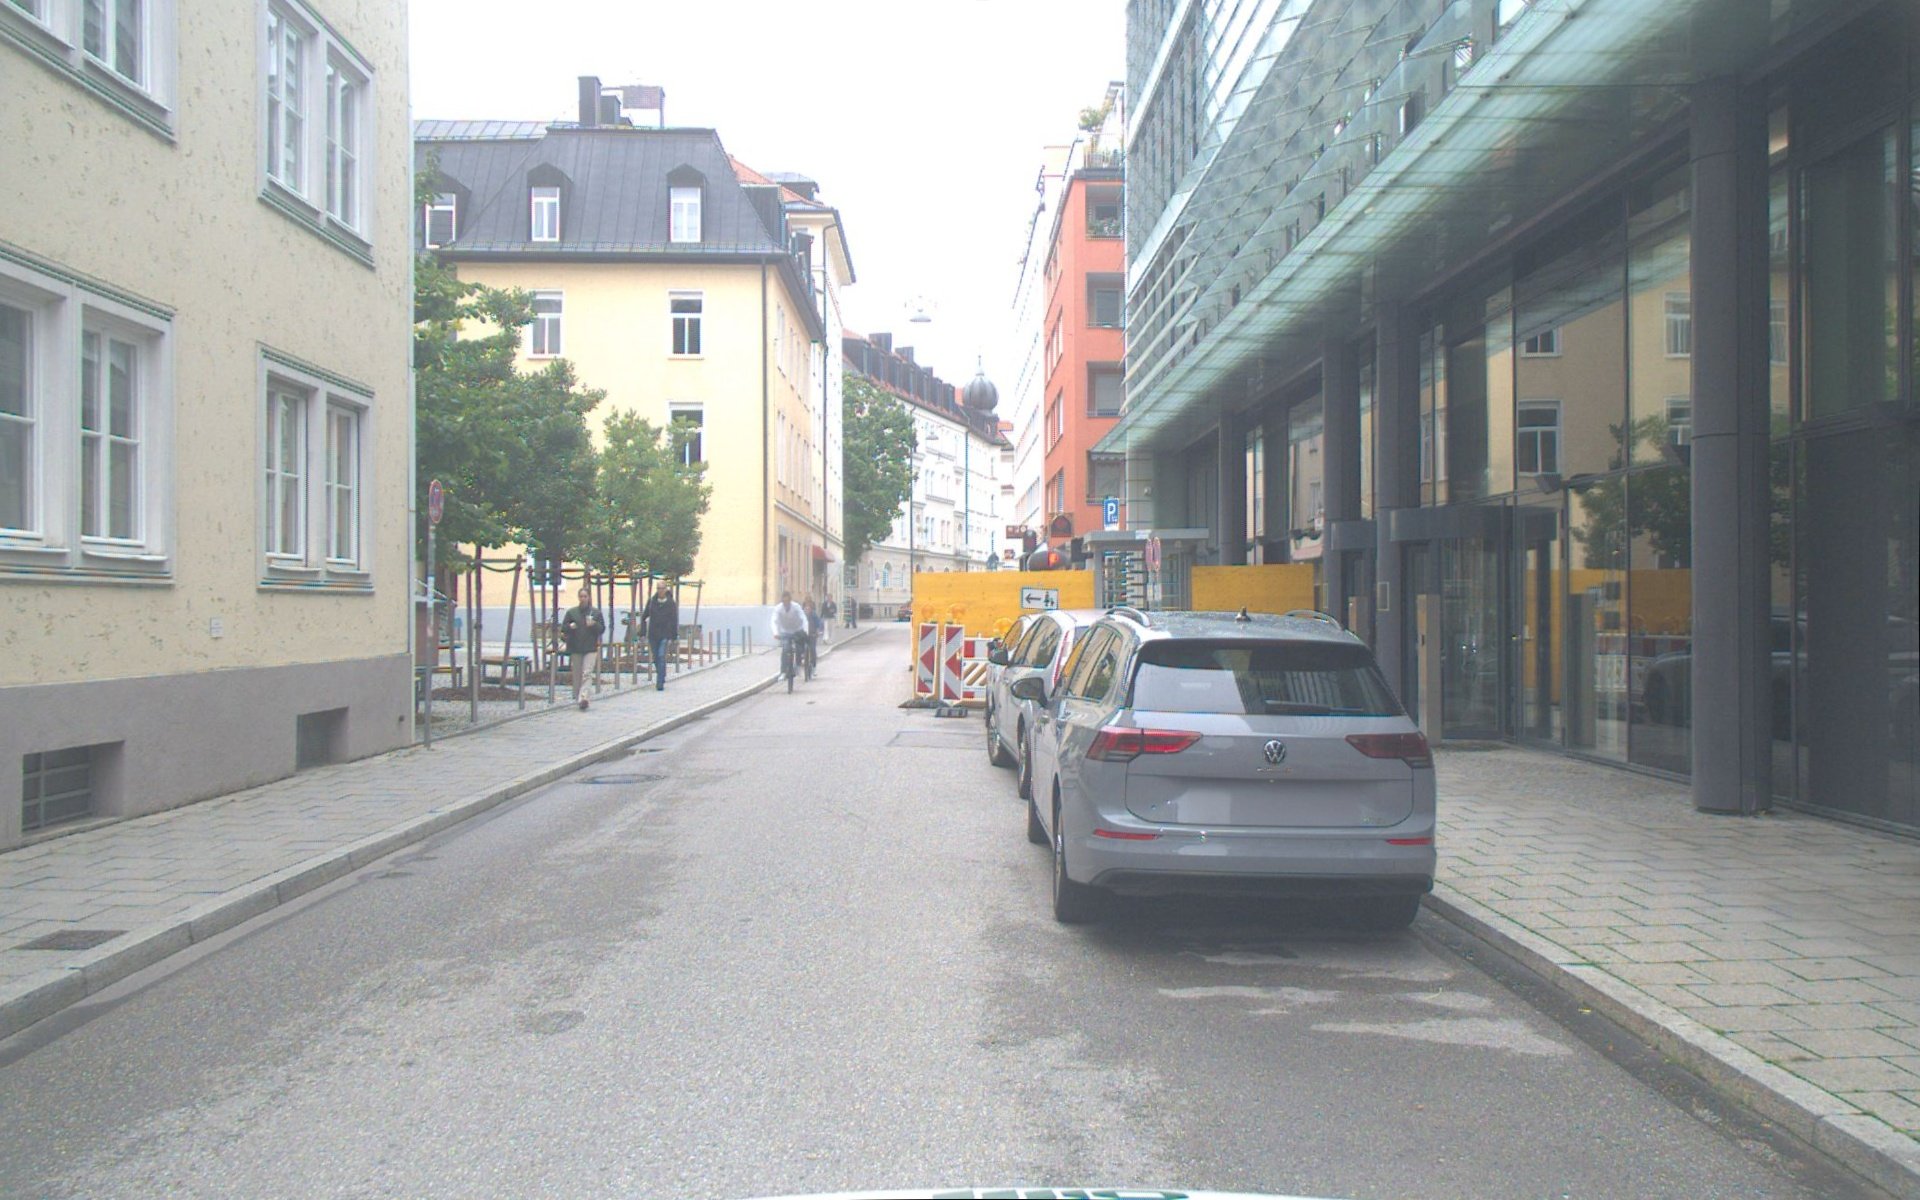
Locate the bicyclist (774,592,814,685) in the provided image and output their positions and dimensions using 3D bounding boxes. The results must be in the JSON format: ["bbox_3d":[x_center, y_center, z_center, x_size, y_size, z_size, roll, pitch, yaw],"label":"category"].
[{"bbox_3d":[-3.072,0.702,30.582,0.646,1.672,0.895,-1,0,-1],"label":"bicyclist"}]

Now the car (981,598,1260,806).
[{"bbox_3d":[1.209,0.764,14.230,1.674,1.493,4.233,1,0,-4],"label":"car"}]

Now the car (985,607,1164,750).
[{"bbox_3d":[1.219,0.831,19.389,1.673,1.439,4.508,1,0,-1],"label":"car"}]

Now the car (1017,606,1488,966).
[{"bbox_3d":[1.276,0.768,8.937,1.673,1.457,4.328,0,0,-2],"label":"car"}]

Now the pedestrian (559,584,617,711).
[{"bbox_3d":[-5.111,0.647,22.740,0.634,1.706,0.723,0,-1,-2],"label":"pedestrian"}]

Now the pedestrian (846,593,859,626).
[{"bbox_3d":[-5.480,0.478,84.108,0.621,1.704,0.517,0,0,-1],"label":"pedestrian"}]

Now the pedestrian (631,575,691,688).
[{"bbox_3d":[-5.193,0.541,28.819,0.850,1.914,1.134,0,-1,-2],"label":"pedestrian"}]

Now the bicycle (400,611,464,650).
[{"bbox_3d":[-15.247,0.886,47.777,1.621,1.088,0.598,1,0,3],"label":"bicycle"}]

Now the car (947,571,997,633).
[{"bbox_3d":[0.478,0.099,71.505,1.953,2.581,4.973,0,0,-2],"label":"car"}]

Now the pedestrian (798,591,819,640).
[{"bbox_3d":[-5.227,0.538,56.987,0.656,1.677,0.761,0,-1,-2],"label":"pedestrian"}]

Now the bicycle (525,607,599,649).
[{"bbox_3d":[-11.581,0.812,48.133,2.000,1.218,0.570,0,0,6],"label":"bicycle"}]

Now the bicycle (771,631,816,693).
[{"bbox_3d":[-3.055,1.125,30.483,0.648,1.057,2.004,-1,0,-1],"label":"bicycle"}]

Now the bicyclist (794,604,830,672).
[{"bbox_3d":[-3.121,0.793,34.930,0.693,1.395,0.813,-1,0,-2],"label":"bicyclist"}]

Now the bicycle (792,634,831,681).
[{"bbox_3d":[-3.119,1.193,34.866,0.693,0.921,1.809,-1,0,-1],"label":"bicycle"}]

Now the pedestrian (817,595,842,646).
[{"bbox_3d":[-4.479,0.705,56.755,0.822,1.730,0.802,0,-1,-2],"label":"pedestrian"}]
